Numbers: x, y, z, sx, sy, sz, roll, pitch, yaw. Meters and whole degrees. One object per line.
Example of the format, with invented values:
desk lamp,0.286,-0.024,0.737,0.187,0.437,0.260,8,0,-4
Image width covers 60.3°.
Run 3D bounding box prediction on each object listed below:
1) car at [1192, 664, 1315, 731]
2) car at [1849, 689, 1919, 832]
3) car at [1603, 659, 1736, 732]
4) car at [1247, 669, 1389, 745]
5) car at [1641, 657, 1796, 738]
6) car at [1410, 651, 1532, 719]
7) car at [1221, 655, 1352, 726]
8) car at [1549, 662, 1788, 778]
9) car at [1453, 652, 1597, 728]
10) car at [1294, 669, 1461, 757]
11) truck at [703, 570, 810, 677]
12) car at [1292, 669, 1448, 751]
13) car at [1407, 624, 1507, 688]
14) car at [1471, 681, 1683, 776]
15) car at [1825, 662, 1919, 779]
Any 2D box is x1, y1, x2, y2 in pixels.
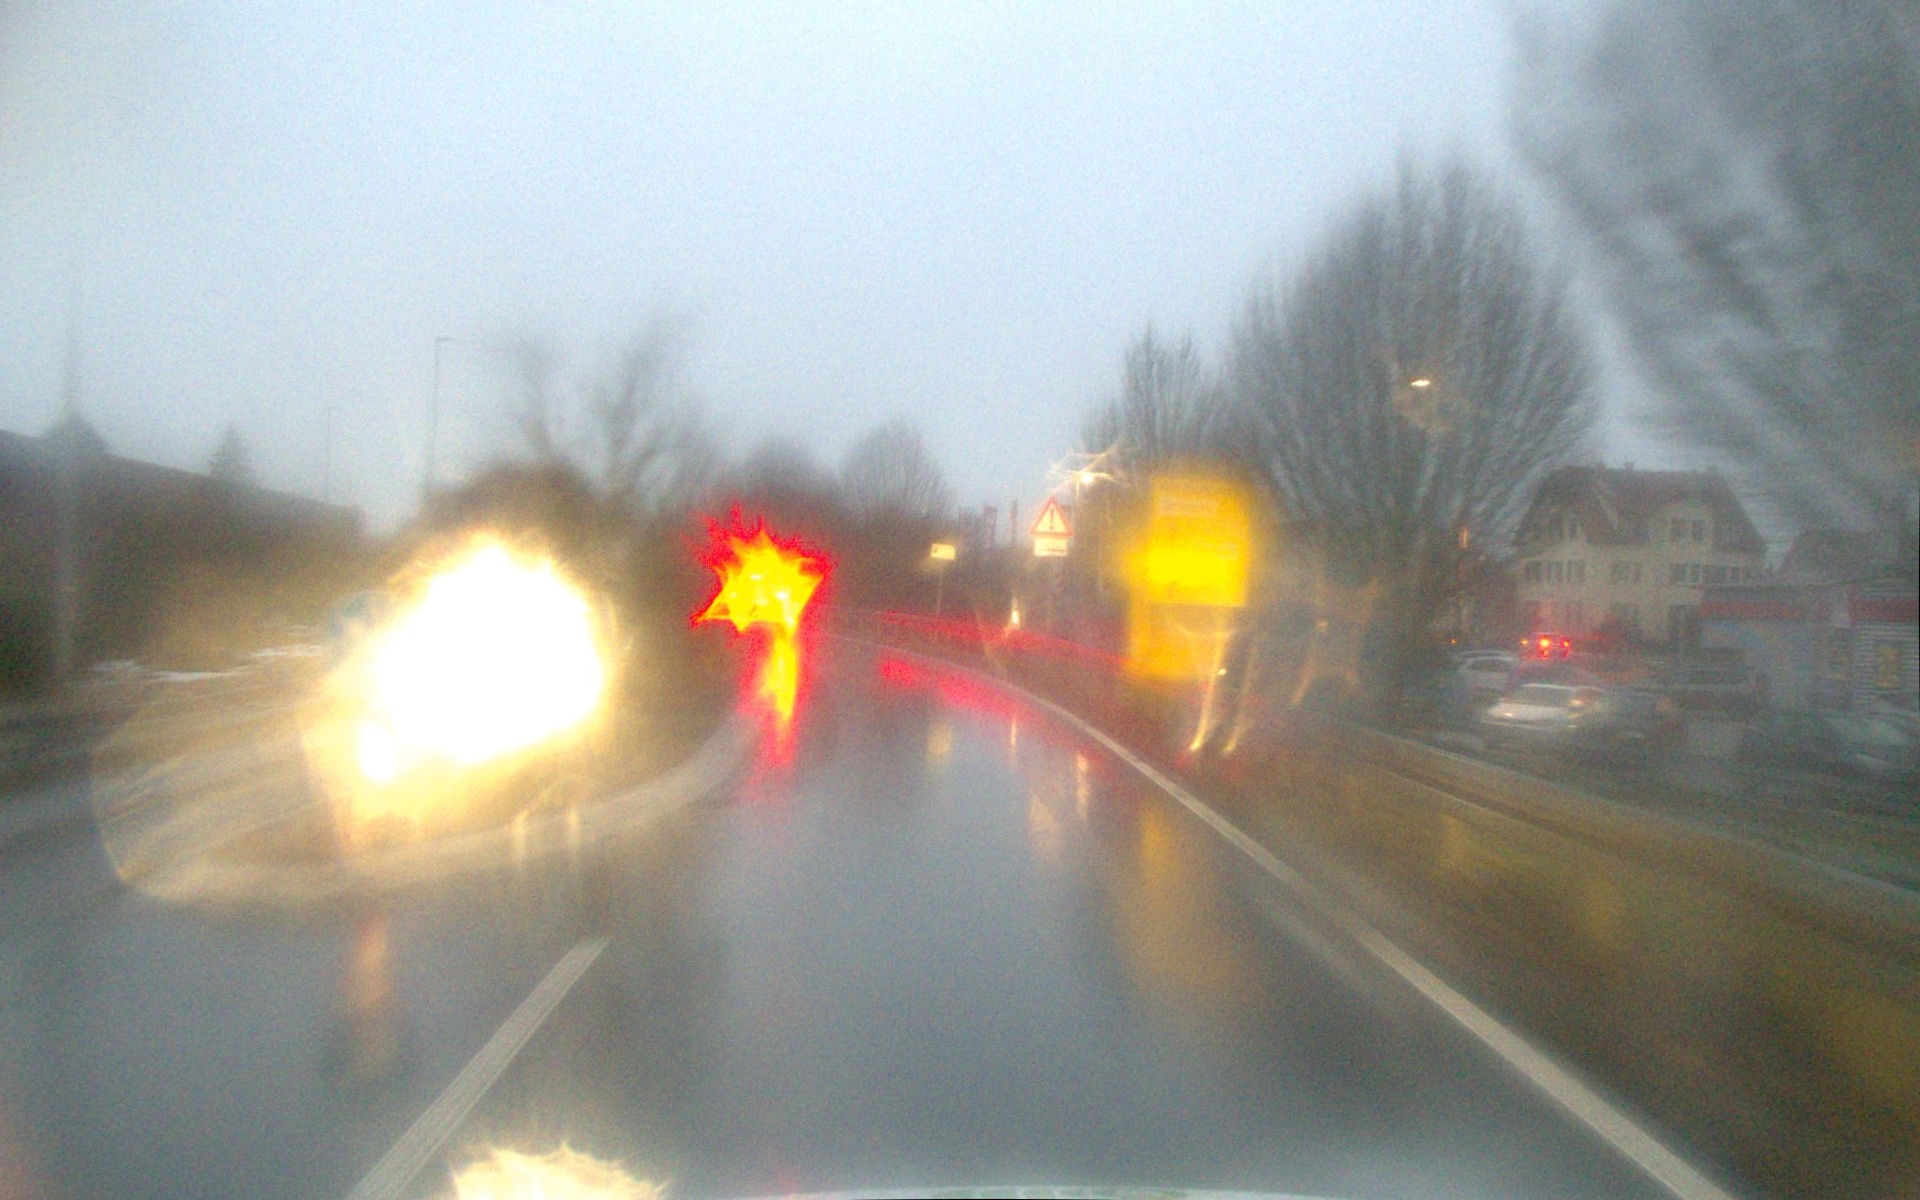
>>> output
car,9.751,3.257,55.197,3.902,2.049,2.001,2,-3,8
car,15.719,2.422,24.629,3.902,2.049,2.001,2,-3,8
car,25.299,3.401,59.053,4.264,2.420,2.099,1,-3,23
car,10.522,3.151,48.877,3.902,2.049,2.001,2,-3,8
car,24.256,3.099,52.908,4.274,2.420,2.094,0,-4,33
car,19.697,3.264,63.754,4.264,2.420,2.099,1,-3,23
car,10.276,2.843,52.261,3.902,2.049,2.001,2,-3,8
car,13.824,2.324,32.451,3.902,2.049,2.001,2,-3,8
car,19.361,3.076,56.693,4.274,2.420,2.094,0,-4,33
car,10.645,2.868,42.391,3.902,2.049,2.001,2,-3,8
truck,-6.213,0.634,49.726,2.488,2.919,5.903,2,1,-13
car,11.163,2.991,45.260,3.902,2.049,2.001,2,-3,8
car,23.316,2.639,77.576,4.264,2.806,2.099,1,-3,23
car,13.174,2.722,35.528,3.902,1.825,2.001,2,-3,8
car,21.138,2.638,35.642,4.274,2.420,2.094,0,-4,33
